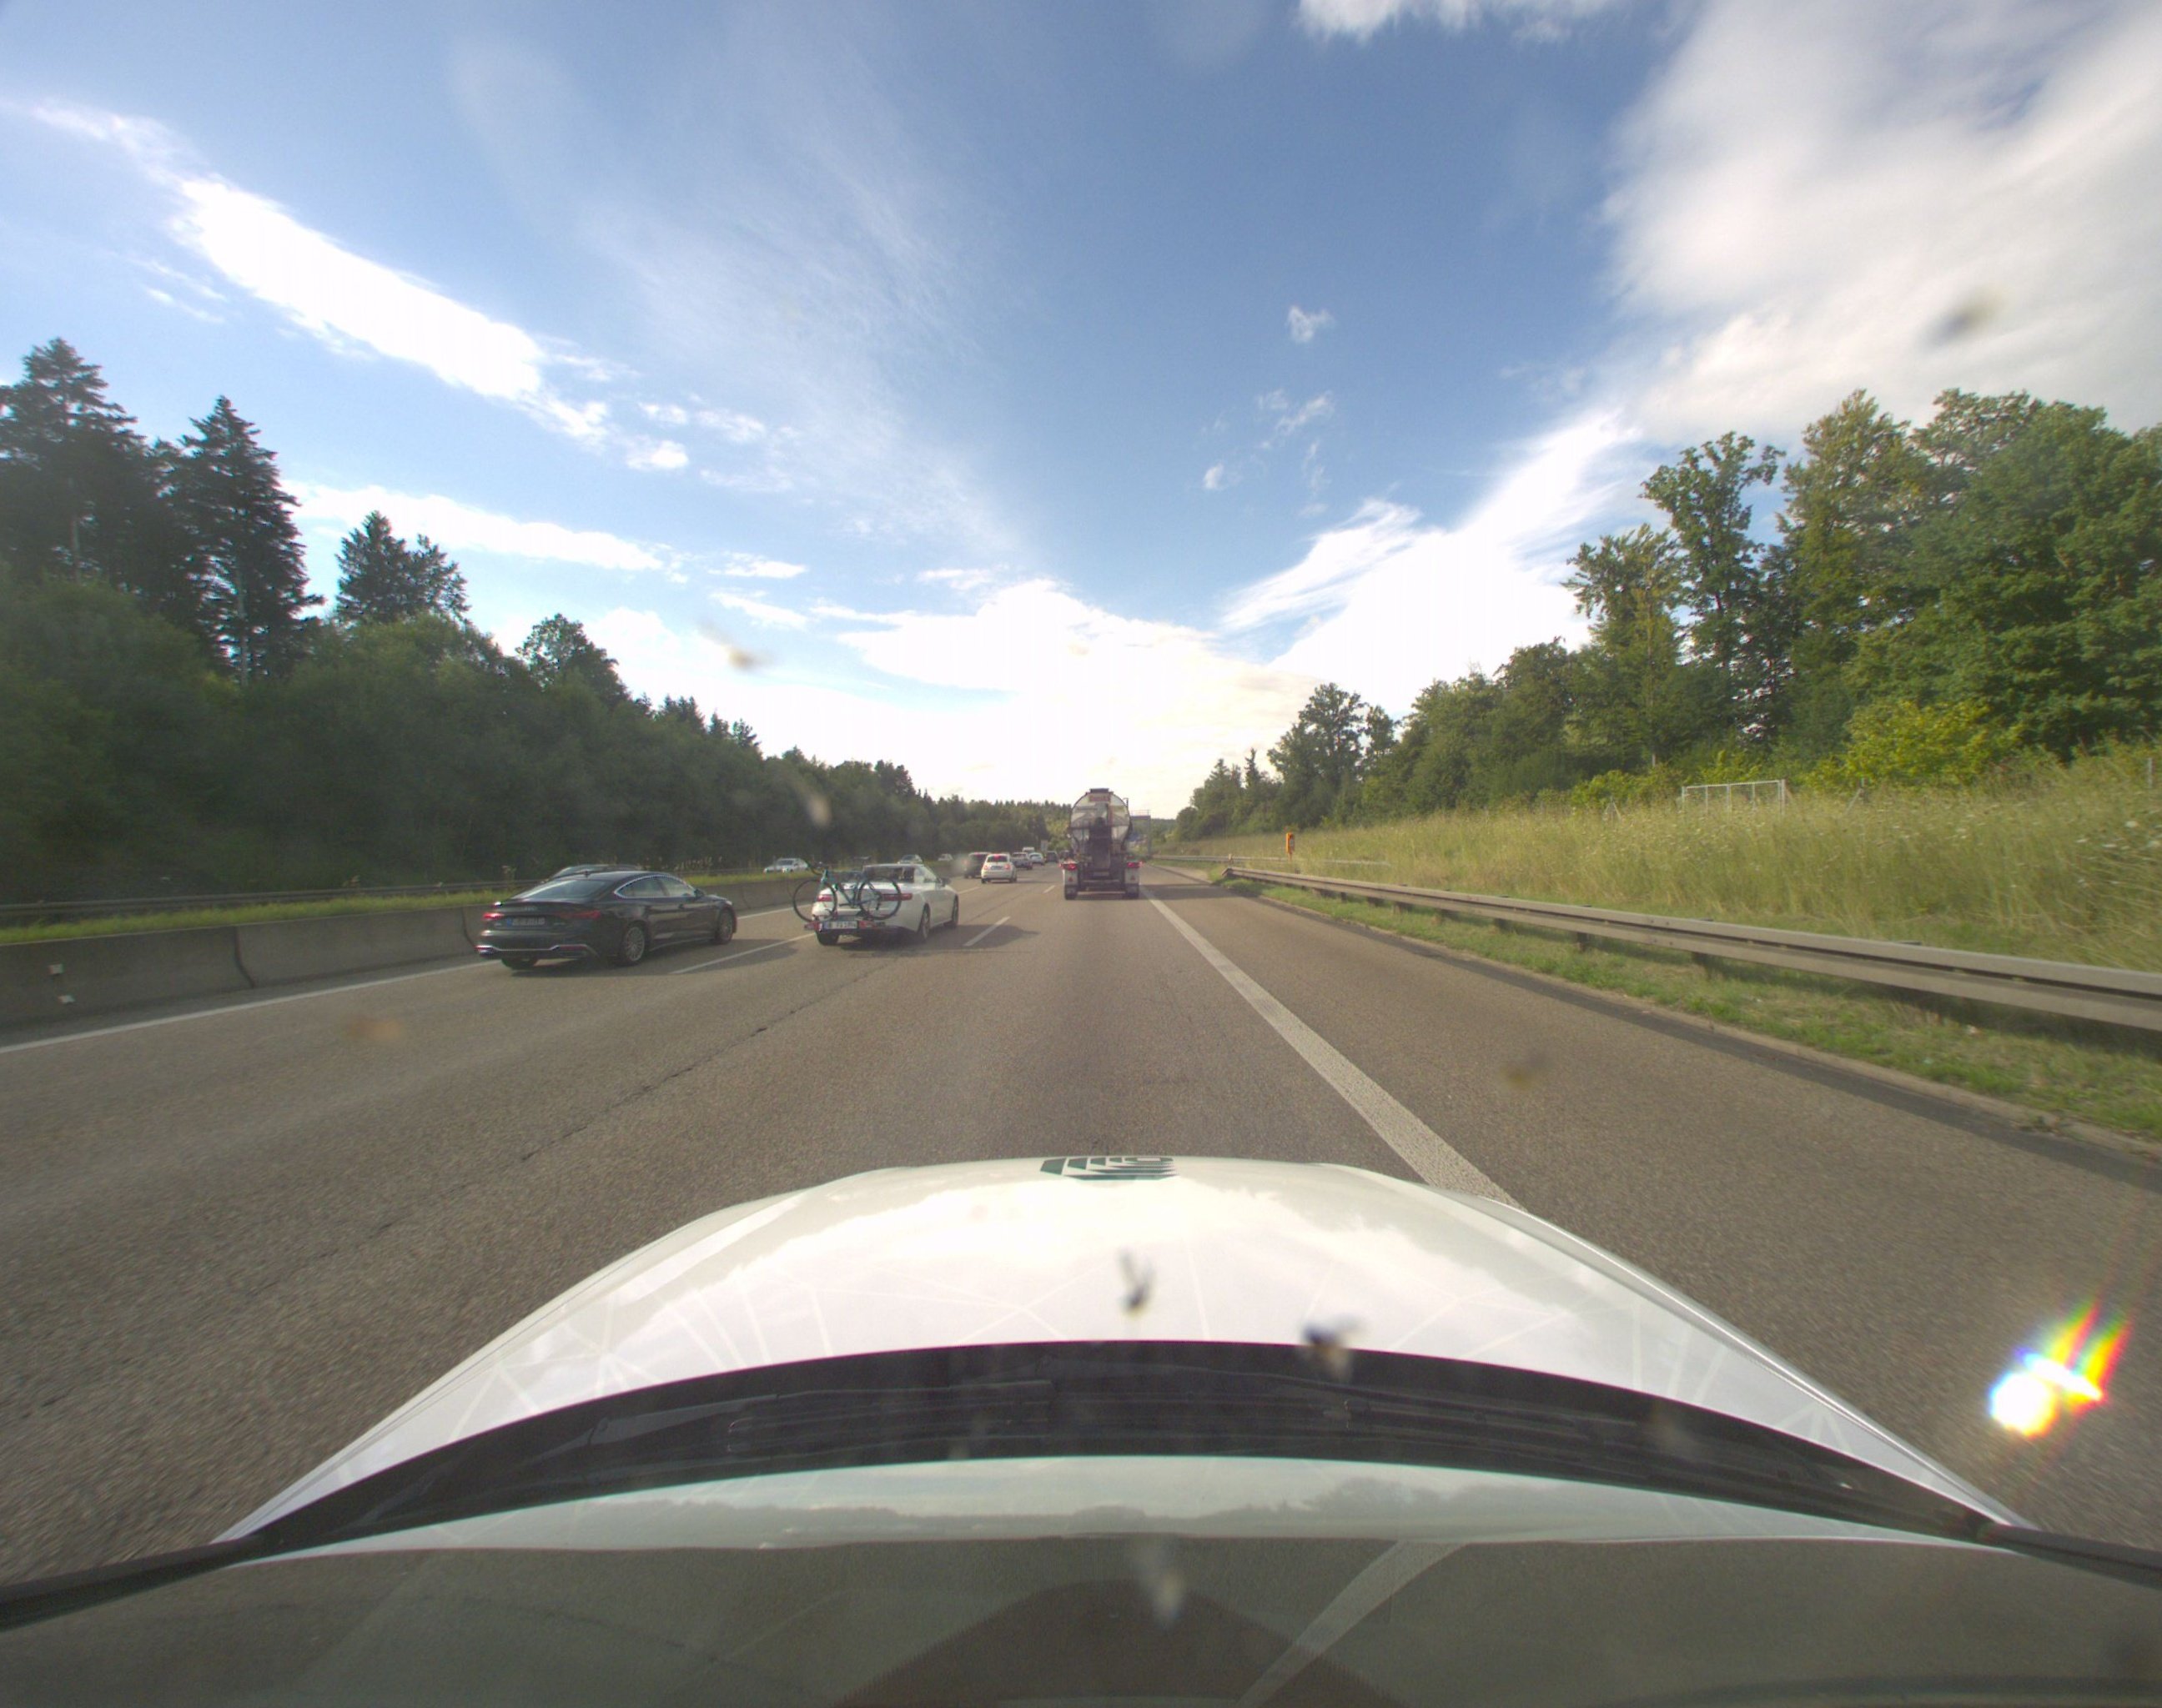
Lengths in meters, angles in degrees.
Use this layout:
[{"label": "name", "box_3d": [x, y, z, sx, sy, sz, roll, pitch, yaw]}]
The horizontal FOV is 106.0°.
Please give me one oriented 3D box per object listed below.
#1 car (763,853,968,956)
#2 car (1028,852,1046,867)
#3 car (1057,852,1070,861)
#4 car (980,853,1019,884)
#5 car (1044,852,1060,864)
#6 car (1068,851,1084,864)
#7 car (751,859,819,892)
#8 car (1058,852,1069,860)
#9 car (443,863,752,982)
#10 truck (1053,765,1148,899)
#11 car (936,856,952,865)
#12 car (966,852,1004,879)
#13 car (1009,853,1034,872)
[{"label": "car", "box_3d": [-3.621, 0.753, 15.027, 2.052, 1.499, 5.738, -1, 0, 2]}, {"label": "car", "box_3d": [-5.059, 0.623, 94.290, 1.800, 1.585, 4.208, -1, 1, 1]}, {"label": "car", "box_3d": [-2.932, 0.425, 135.246, 1.935, 1.456, 4.208, -1, 1, 1]}, {"label": "car", "box_3d": [-4.243, 0.727, 42.802, 1.612, 1.544, 3.521, -1, 0, 1]}, {"label": "car", "box_3d": [-3.990, 0.587, 113.313, 1.935, 1.585, 4.208, -1, 1, 1]}, {"label": "car", "box_3d": [-0.584, 0.453, 106.411, 1.935, 1.654, 4.208, -1, 1, 1]}, {"label": "car", "box_3d": [-21.324, 1.478, 59.043, 2.569, 2.138, 5.968, -1, 0, 2]}, {"label": "car", "box_3d": [-3.352, 0.452, 155.229, 1.935, 1.456, 4.208, -1, 1, 1]}, {"label": "car", "box_3d": [-7.206, 0.912, 12.906, 1.849, 1.431, 4.843, -1, 0, 2]}, {"label": "truck", "box_3d": [0.814, -0.702, 31.217, 2.901, 4.157, 11.275, -1, 0, 2]}, {"label": "car", "box_3d": [-19.191, 0.900, 114.276, 1.585, 1.094, 3.174, -1, 0, 2]}, {"label": "car", "box_3d": [-6.049, 0.695, 51.618, 1.800, 1.585, 4.208, -1, 1, 1]}, {"label": "car", "box_3d": [-5.242, 0.707, 72.019, 1.800, 1.585, 4.208, -1, 1, 1]}]
